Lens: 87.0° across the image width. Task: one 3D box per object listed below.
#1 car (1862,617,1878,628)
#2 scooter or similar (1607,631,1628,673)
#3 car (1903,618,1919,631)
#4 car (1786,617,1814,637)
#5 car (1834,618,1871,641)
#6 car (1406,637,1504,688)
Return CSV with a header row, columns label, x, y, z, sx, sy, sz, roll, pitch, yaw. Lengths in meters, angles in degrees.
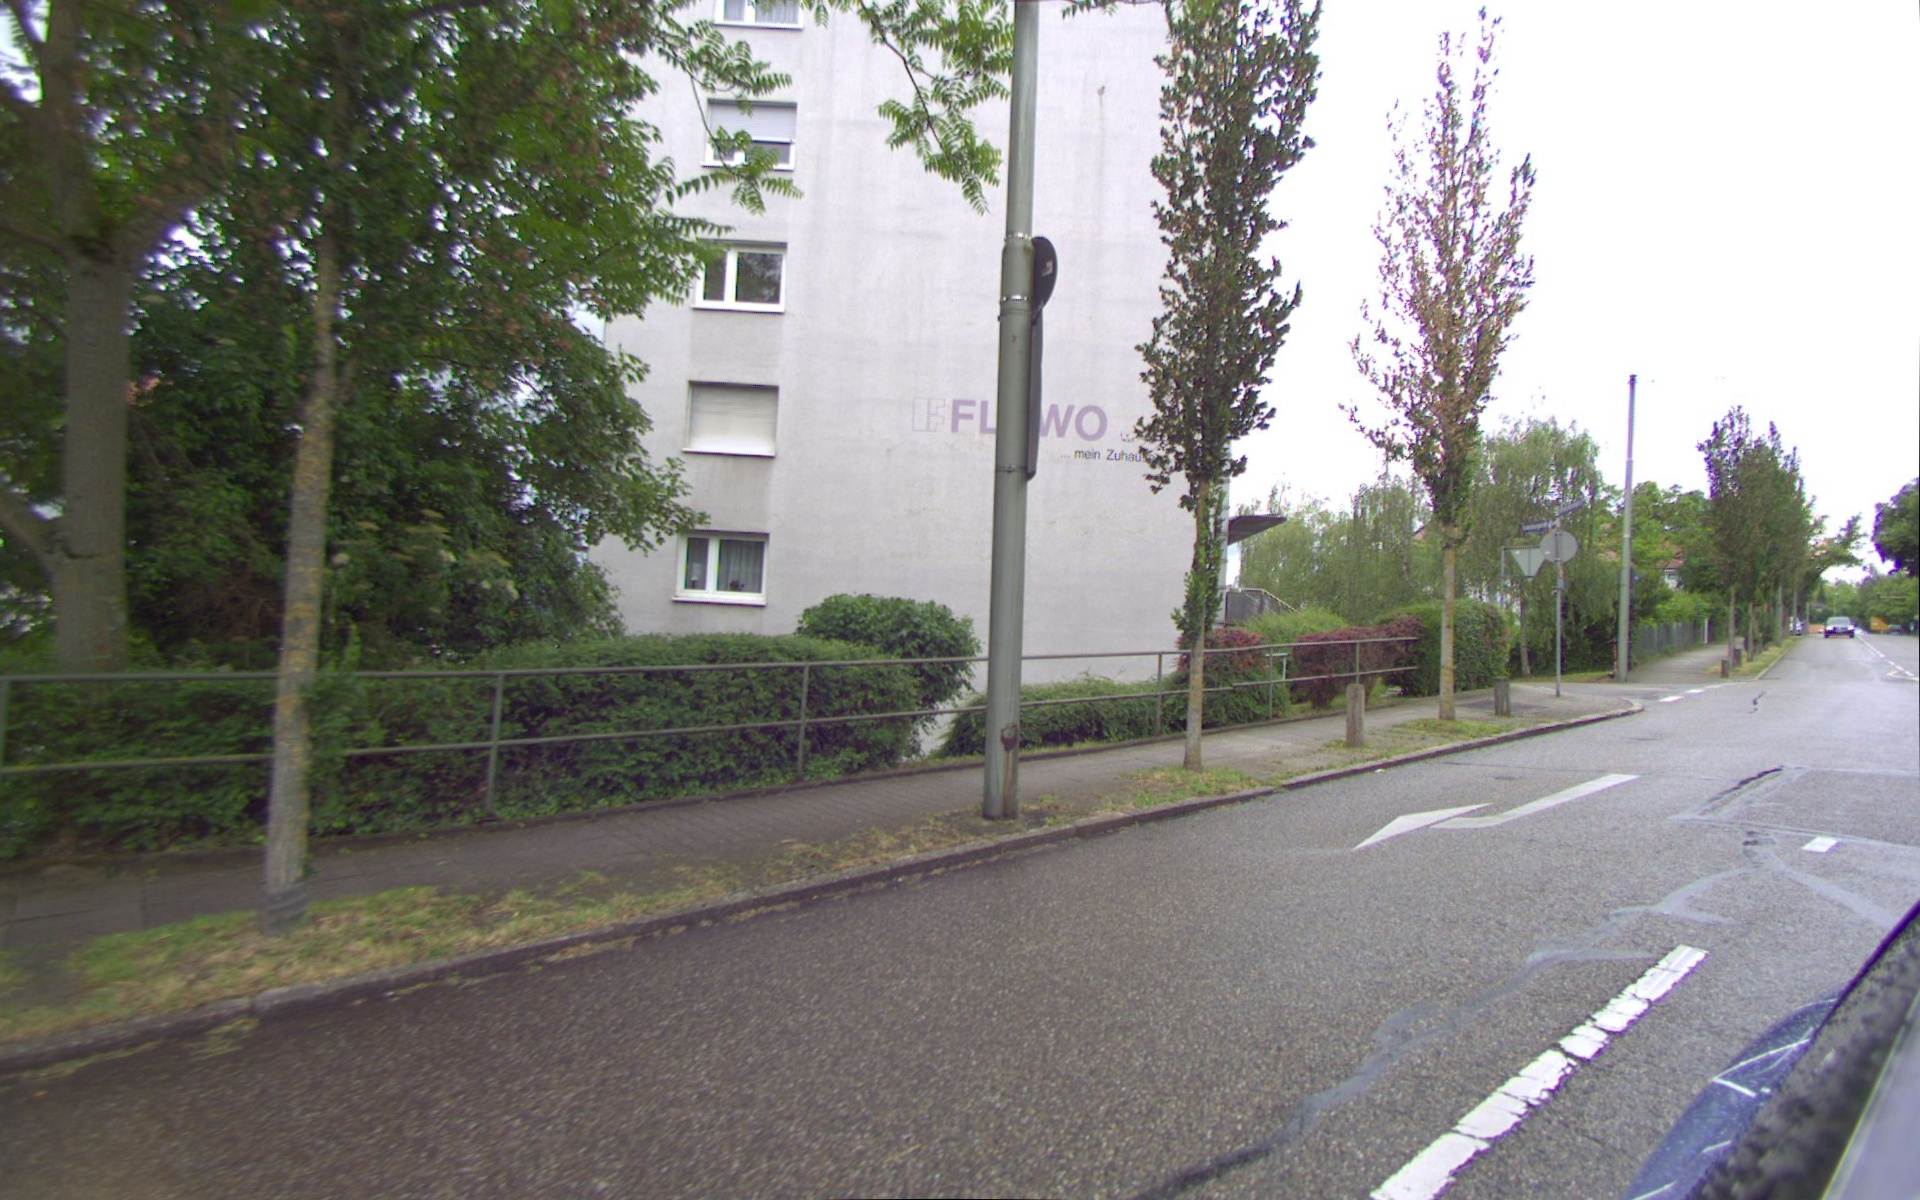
label,x,y,z,sx,sy,sz,roll,pitch,yaw
car,139.610,3.475,155.326,1.761,1.505,3.939,1,1,42
scooter or similar,20.807,1.631,32.004,0.342,1.270,1.249,-4,-3,40
car,119.361,3.041,126.567,1.744,1.568,3.860,4,2,40
car,72.606,2.308,87.497,1.822,1.650,3.942,0,0,40
car,71.747,2.371,81.343,1.993,1.706,3.936,-4,-5,44
car,17.473,2.251,35.903,1.613,1.543,3.566,1,-8,-1
